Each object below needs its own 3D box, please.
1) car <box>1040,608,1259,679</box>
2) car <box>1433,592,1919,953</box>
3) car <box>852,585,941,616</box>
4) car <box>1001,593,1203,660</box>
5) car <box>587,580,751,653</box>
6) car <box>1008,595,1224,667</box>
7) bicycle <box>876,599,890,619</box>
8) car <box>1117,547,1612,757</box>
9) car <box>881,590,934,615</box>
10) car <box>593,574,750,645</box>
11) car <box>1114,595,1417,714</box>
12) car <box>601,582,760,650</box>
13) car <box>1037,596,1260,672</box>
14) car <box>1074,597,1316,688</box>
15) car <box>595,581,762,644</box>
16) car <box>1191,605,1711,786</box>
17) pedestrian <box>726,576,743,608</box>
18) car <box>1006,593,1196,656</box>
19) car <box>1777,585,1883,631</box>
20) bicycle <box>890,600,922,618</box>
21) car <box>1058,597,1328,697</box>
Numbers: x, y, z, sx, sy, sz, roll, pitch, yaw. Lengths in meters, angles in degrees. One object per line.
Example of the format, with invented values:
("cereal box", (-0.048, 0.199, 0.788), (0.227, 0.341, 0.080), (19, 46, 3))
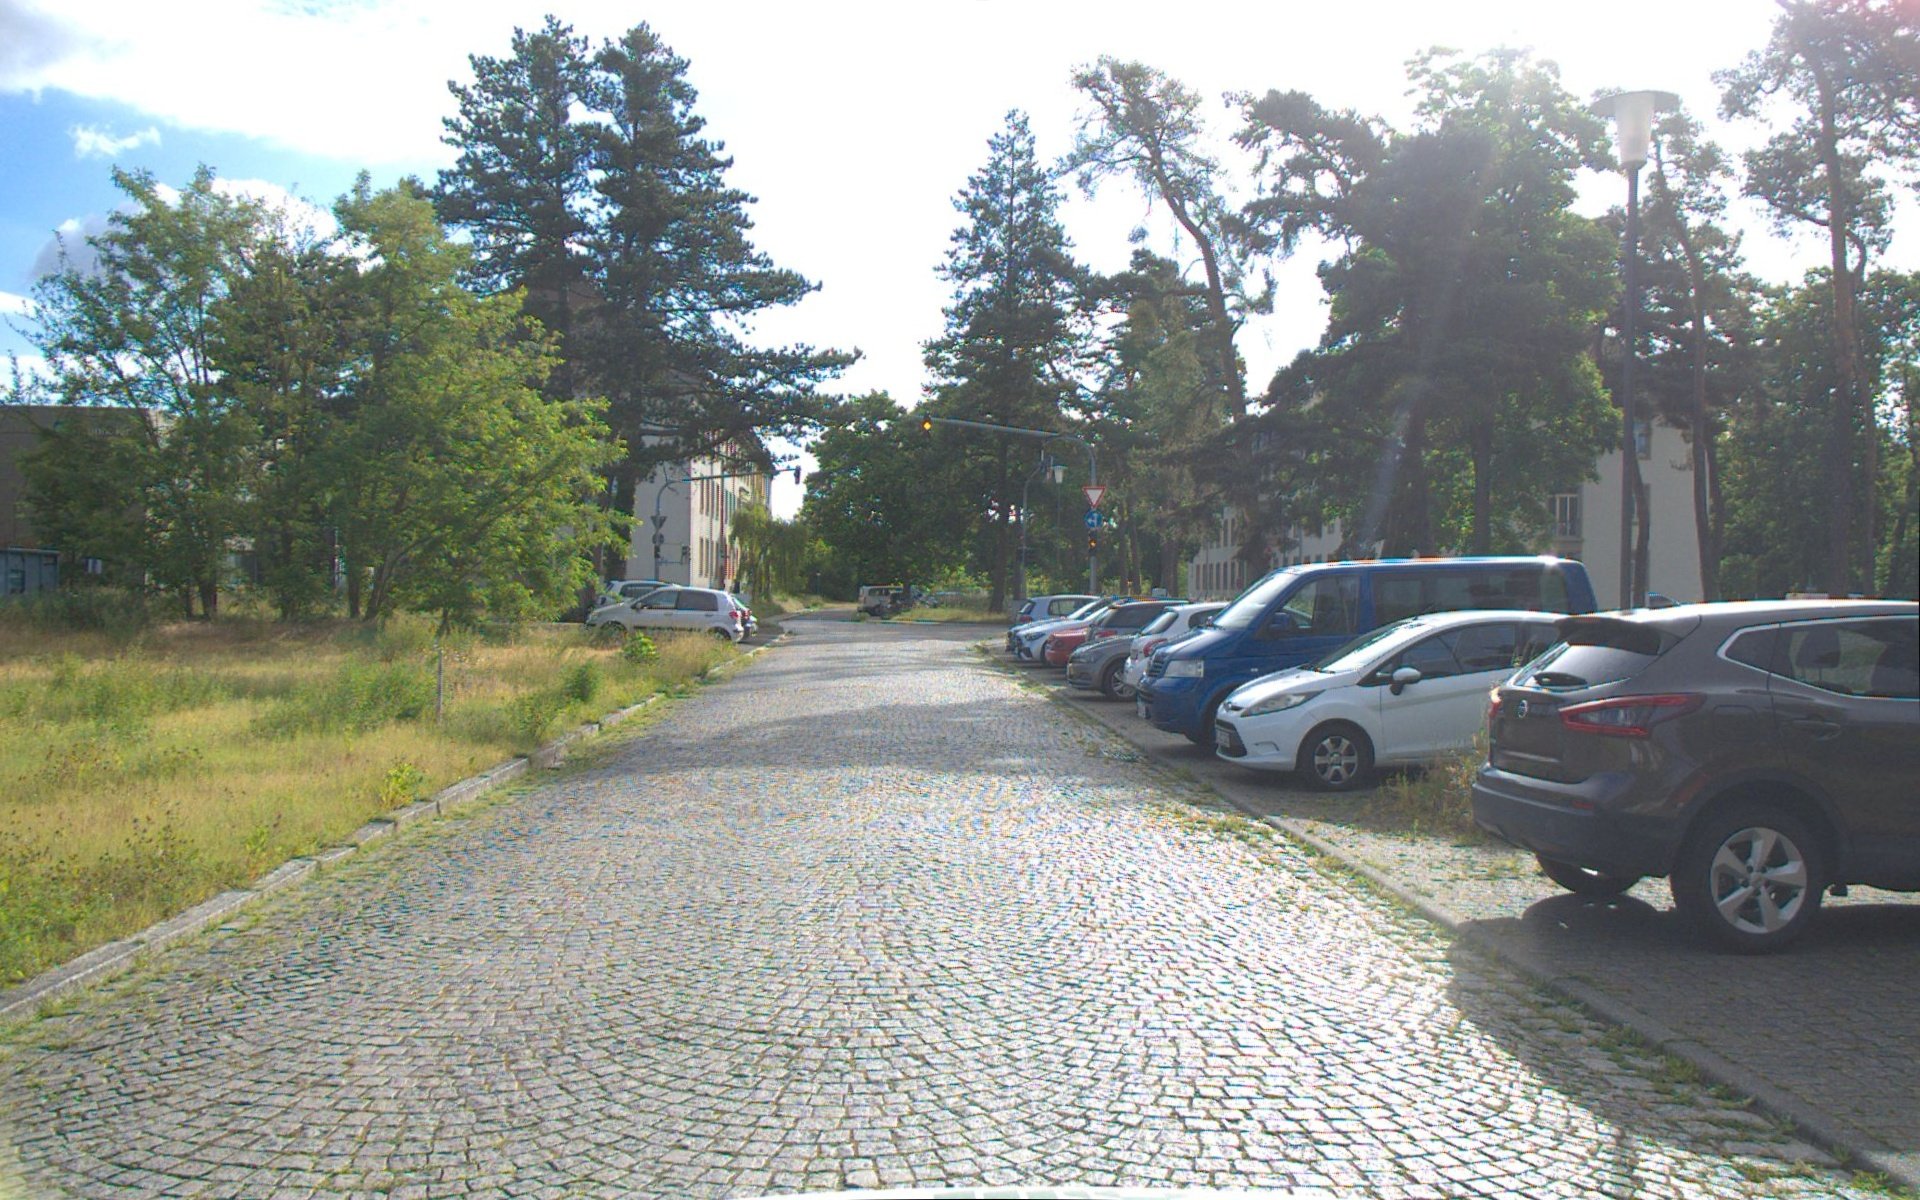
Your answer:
("car", (3.517, 0.798, 31.100), (3.872, 1.283, 1.725), (0, 0, -3))
("car", (4.767, 0.778, 8.509), (4.108, 1.617, 1.876), (0, 0, -4))
("car", (-4.168, 0.054, 107.797), (5.414, 1.949, 2.243), (1, -1, -17))
("car", (3.269, 0.600, 38.522), (4.421, 1.499, 1.892), (0, 0, -8))
("car", (-6.916, 0.396, 39.634), (3.611, 1.499, 1.847), (4, -1, -5))
("car", (3.315, 0.653, 35.742), (4.417, 1.499, 1.848), (0, 0, -4))
("bicycle", (-4.126, 0.487, 88.248), (0.713, 1.016, 1.798), (0, 1, -3))
("car", (4.117, 0.509, 17.349), (4.639, 1.962, 1.990), (-1, 0, -4))
("car", (-3.316, 0.174, 104.279), (2.983, 1.491, 1.712), (1, -1, -16))
("car", (-7.783, 0.267, 44.938), (4.044, 1.627, 1.855), (4, -1, -8))
("car", (4.121, 0.717, 22.708), (3.797, 1.557, 1.806), (0, 0, -3))
("car", (-7.099, 0.409, 42.282), (3.754, 1.454, 1.857), (4, -1, -4))
("car", (3.771, 0.674, 33.497), (4.255, 1.499, 1.738), (0, 0, -4))
("car", (3.995, 0.709, 28.488), (3.872, 1.521, 1.771), (0, 0, -3))
("car", (-8.014, 0.349, 47.469), (4.499, 1.480, 1.901), (4, 1, -6))
("car", (4.306, 0.796, 14.845), (4.111, 1.495, 1.805), (0, 0, -7))
("pedestrian", (-14.121, -0.491, 103.597), (0.966, 1.998, 0.932), (1, -1, -4))
("car", (3.468, 0.597, 41.163), (4.455, 1.532, 1.931), (0, 0, -5))
("car", (51.133, 0.486, 97.230), (5.054, 2.580, 2.263), (1, -1, -2))
("bicycle", (-3.043, 0.497, 92.931), (1.757, 1.016, 0.643), (0, 1, -5))
("car", (3.529, 0.701, 25.532), (3.872, 1.493, 1.829), (0, 0, -3))
